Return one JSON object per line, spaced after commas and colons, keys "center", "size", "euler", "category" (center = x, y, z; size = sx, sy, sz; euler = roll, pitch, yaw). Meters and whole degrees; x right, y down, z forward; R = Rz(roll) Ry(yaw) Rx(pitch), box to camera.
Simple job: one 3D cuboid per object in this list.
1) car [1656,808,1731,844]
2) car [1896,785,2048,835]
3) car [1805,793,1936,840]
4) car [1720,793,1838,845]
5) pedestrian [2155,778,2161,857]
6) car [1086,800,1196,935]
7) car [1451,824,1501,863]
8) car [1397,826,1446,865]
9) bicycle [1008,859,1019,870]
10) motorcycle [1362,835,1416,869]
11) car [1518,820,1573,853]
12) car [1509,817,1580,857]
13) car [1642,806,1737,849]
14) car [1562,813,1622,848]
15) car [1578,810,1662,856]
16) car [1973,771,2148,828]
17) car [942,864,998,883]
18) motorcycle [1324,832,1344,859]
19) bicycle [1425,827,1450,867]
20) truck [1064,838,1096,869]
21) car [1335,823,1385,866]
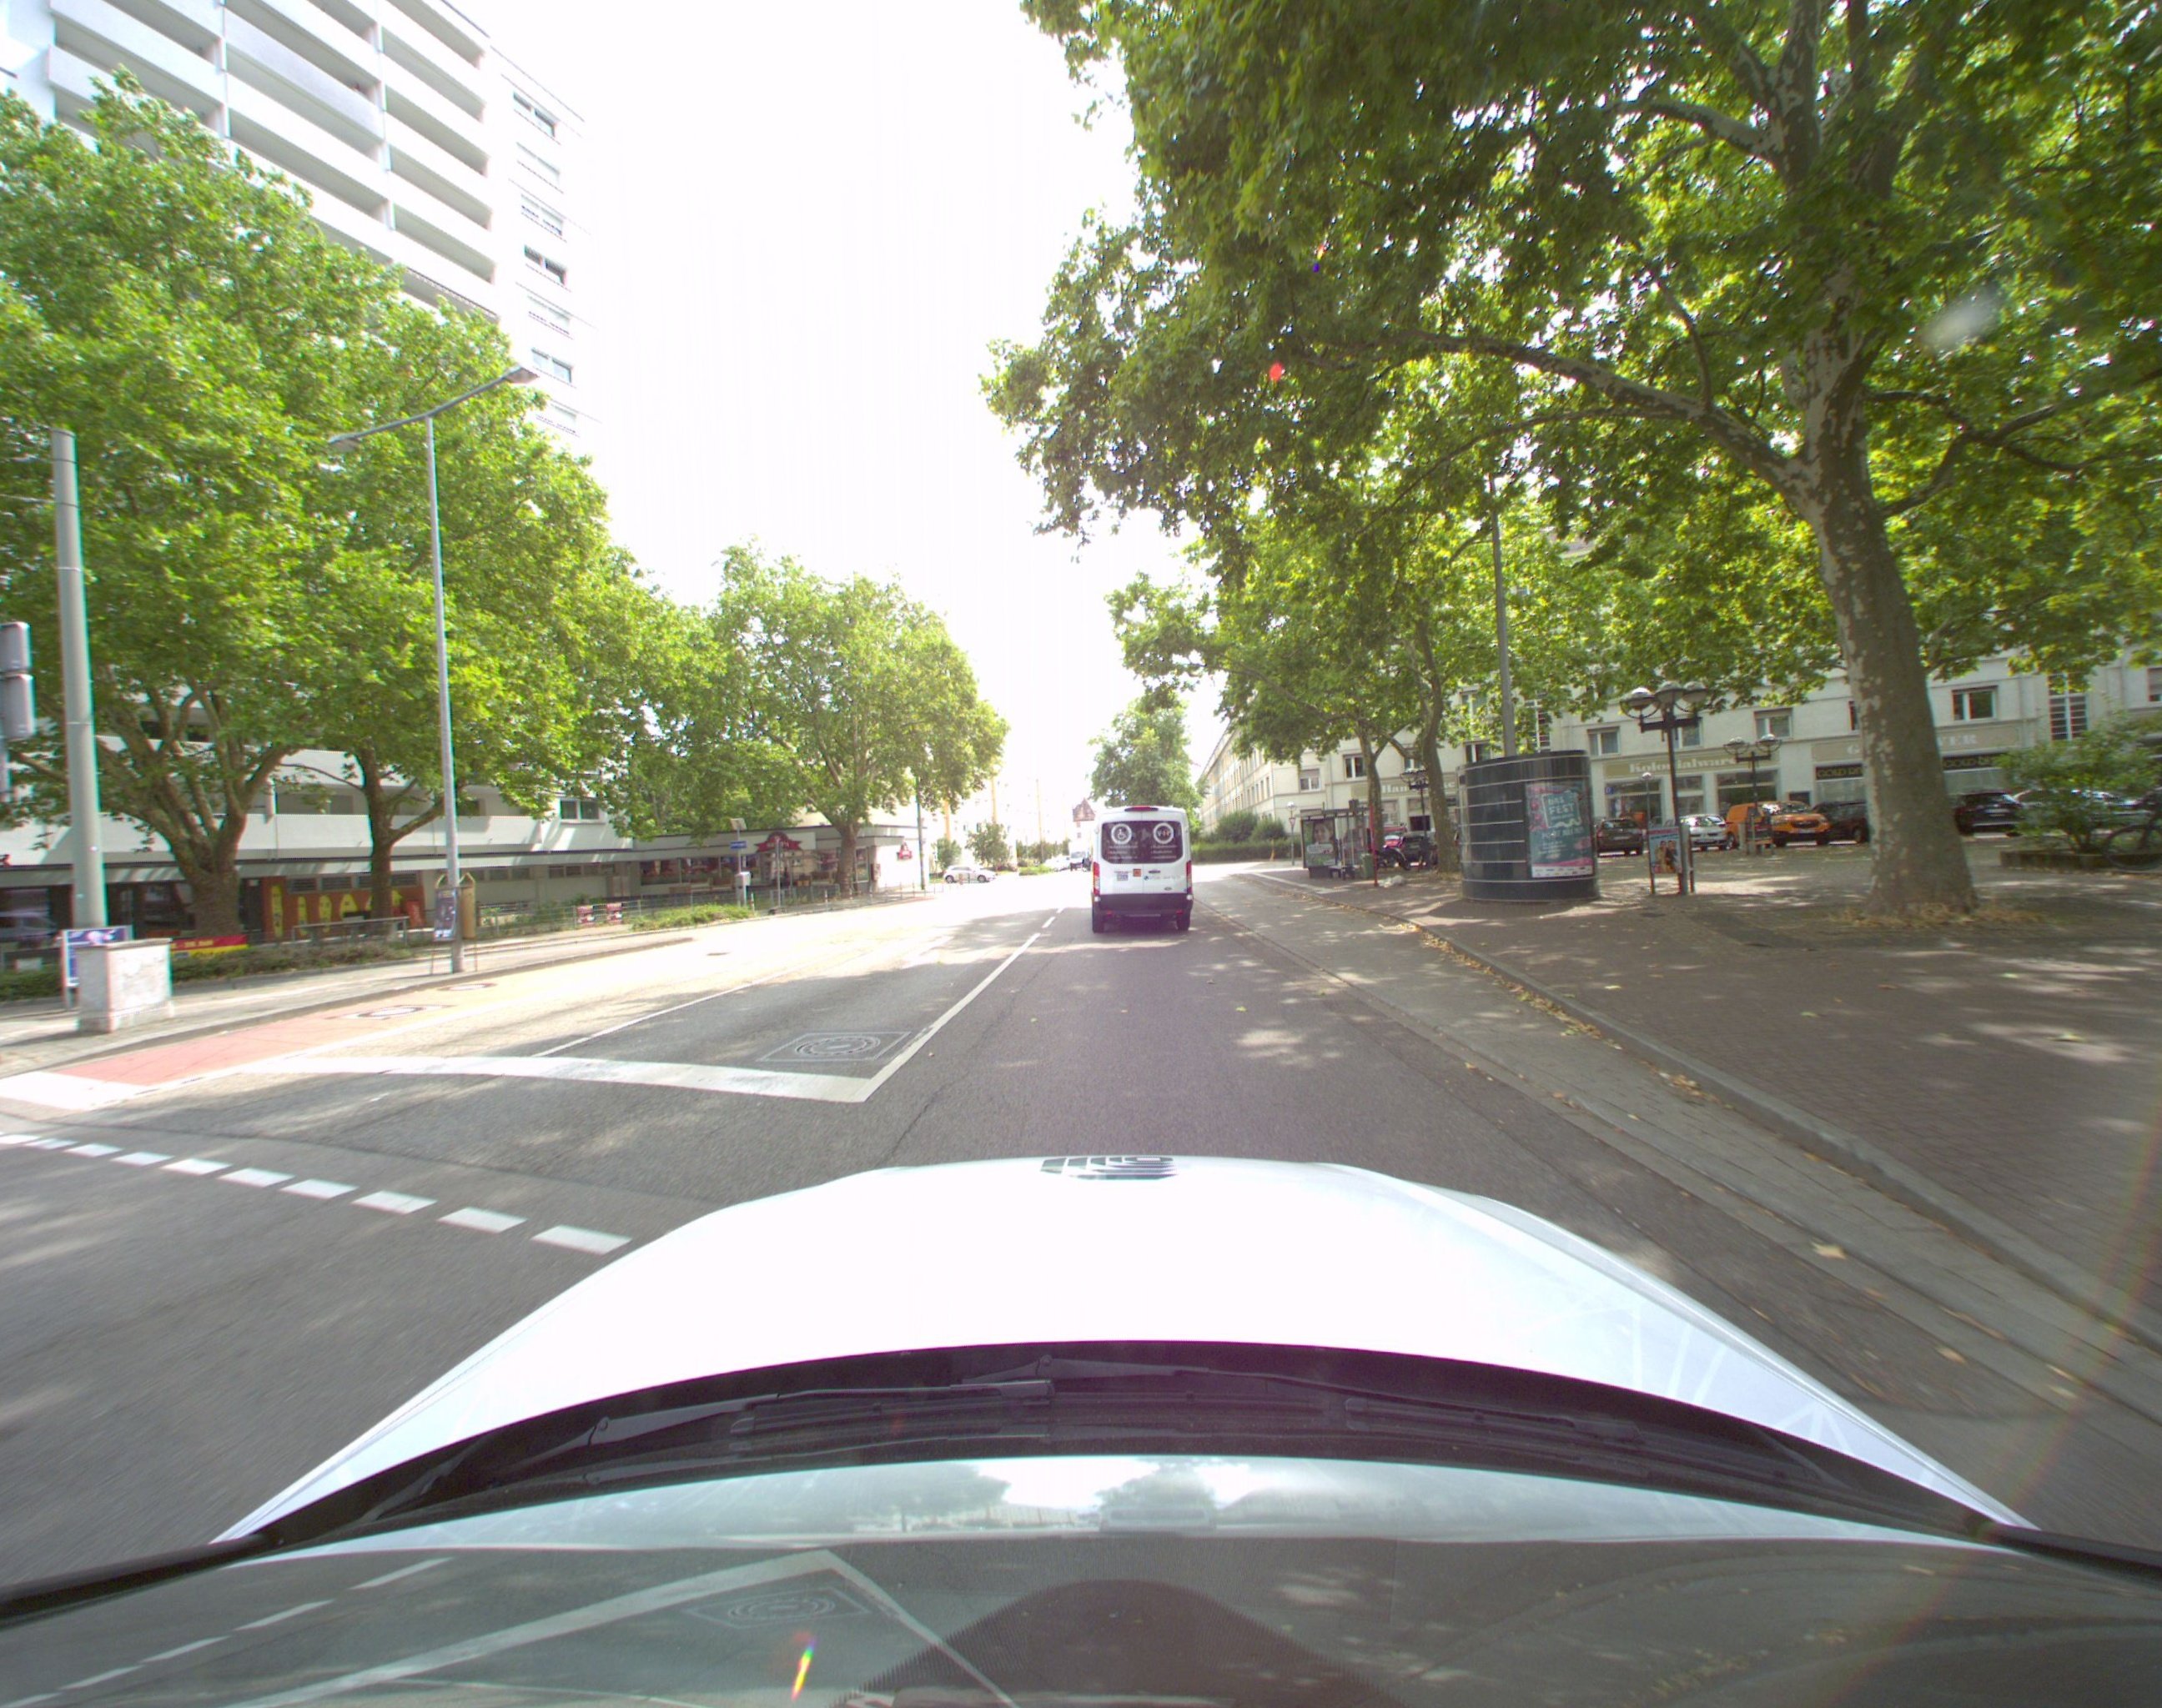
{"center": [30.883, -1.411, 41.179], "size": [1.976, 1.590, 4.218], "euler": [-4, 0, 23], "category": "car"}
{"center": [31.103, -1.497, 28.623], "size": [1.976, 1.464, 4.022], "euler": [-4, 0, 22], "category": "car"}
{"center": [28.649, -1.335, 29.732], "size": [1.976, 1.464, 4.022], "euler": [-4, 0, 22], "category": "car"}
{"center": [26.588, -1.304, 31.243], "size": [1.976, 1.695, 4.585], "euler": [-4, 0, 22], "category": "car"}
{"center": [17.012, -0.583, 11.939], "size": [1.085, 1.213, 1.147], "euler": [-4, 0, 26], "category": "pedestrian"}
{"center": [1.315, 0.246, 17.912], "size": [2.061, 2.540, 4.640], "euler": [-1, 0, 4], "category": "car"}
{"center": [16.927, -0.471, 34.988], "size": [1.729, 1.464, 4.209], "euler": [-4, 0, 25], "category": "car"}
{"center": [15.308, -0.412, 36.716], "size": [1.811, 1.552, 4.022], "euler": [-4, 0, 22], "category": "car"}
{"center": [-8.066, 1.259, 97.946], "size": [0.574, 1.251, 1.942], "euler": [-4, 1, 16], "category": "bicycle"}
{"center": [12.080, -0.085, 31.978], "size": [1.849, 1.222, 0.530], "euler": [-4, 1, -2], "category": "motorcycle"}
{"center": [23.831, -0.922, 41.951], "size": [1.975, 1.487, 4.219], "euler": [-4, 0, 24], "category": "car"}
{"center": [19.235, -0.718, 33.977], "size": [1.976, 1.464, 4.022], "euler": [-4, 0, 22], "category": "car"}
{"center": [24.001, -1.023, 32.290], "size": [1.976, 1.464, 4.022], "euler": [-4, 0, 22], "category": "car"}
{"center": [26.297, -1.197, 42.062], "size": [1.975, 1.590, 4.219], "euler": [-4, 0, 24], "category": "car"}
{"center": [21.786, -0.852, 33.072], "size": [1.976, 1.599, 4.022], "euler": [-4, 0, 22], "category": "car"}
{"center": [33.052, -1.776, 27.689], "size": [1.976, 1.618, 4.227], "euler": [-4, 0, 22], "category": "car"}
{"center": [-9.062, 1.567, 66.654], "size": [4.150, 1.450, 1.852], "euler": [-1, 0, 6], "category": "car"}
{"center": [14.909, -0.501, 48.056], "size": [0.826, 1.461, 2.314], "euler": [-4, 1, 13], "category": "motorcycle"}
{"center": [13.675, -0.286, 31.229], "size": [0.415, 1.378, 2.326], "euler": [-4, 1, 33], "category": "bicycle"}
{"center": [-0.062, -0.080, 89.097], "size": [2.529, 3.107, 7.030], "euler": [-6, 0, 5], "category": "truck"}
{"center": [12.821, -0.466, 37.290], "size": [1.916, 1.706, 4.354], "euler": [-4, 0, 21], "category": "car"}
